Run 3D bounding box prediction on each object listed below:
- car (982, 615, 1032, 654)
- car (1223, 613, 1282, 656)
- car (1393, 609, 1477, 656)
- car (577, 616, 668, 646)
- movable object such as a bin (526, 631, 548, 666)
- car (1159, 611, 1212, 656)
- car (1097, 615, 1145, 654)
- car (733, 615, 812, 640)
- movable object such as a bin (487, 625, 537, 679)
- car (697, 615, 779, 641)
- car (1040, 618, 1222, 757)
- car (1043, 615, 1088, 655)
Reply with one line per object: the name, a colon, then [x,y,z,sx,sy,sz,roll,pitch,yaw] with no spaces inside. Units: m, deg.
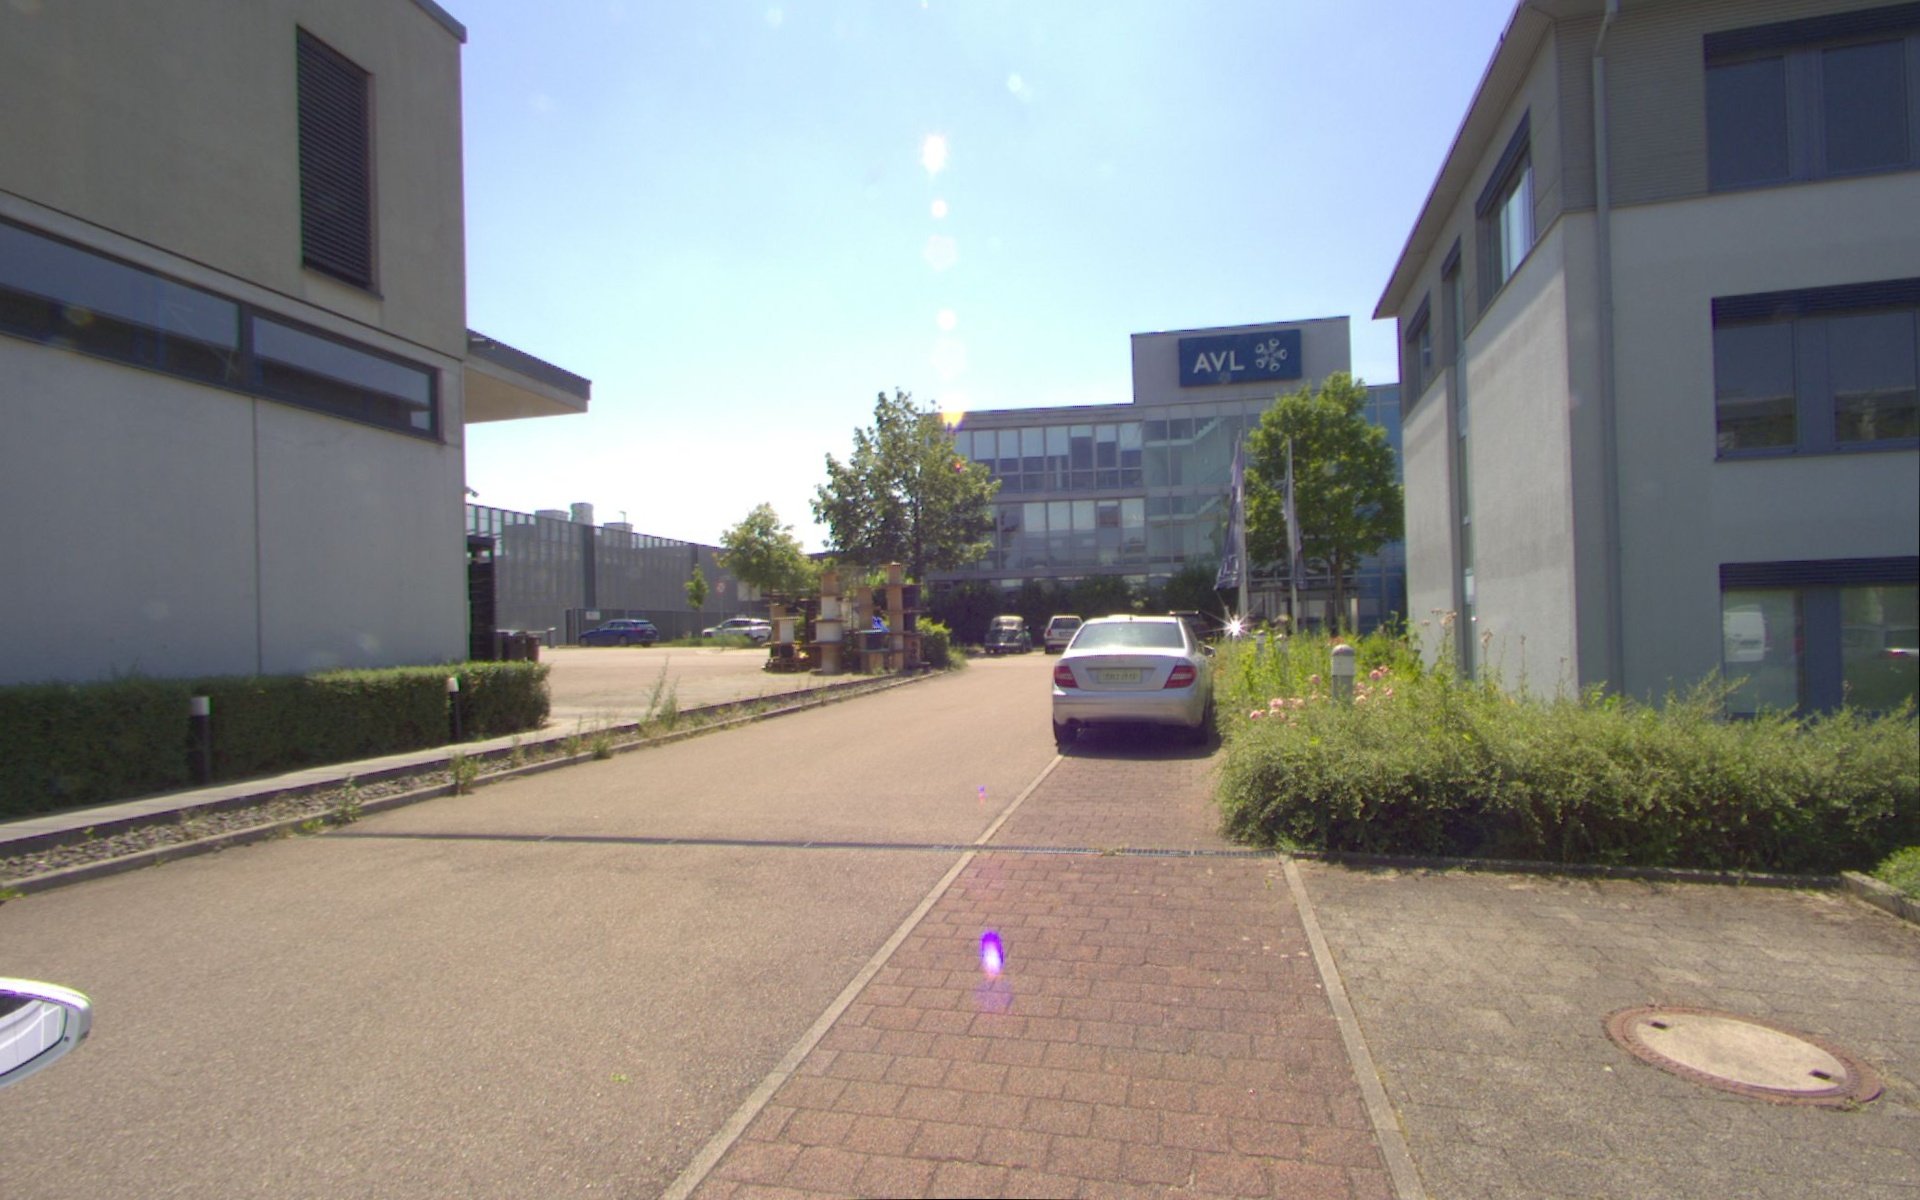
car: [1.920,1.337,39.903,1.517,1.468,3.652,0,0,11]
car: [11.163,1.276,38.439,1.742,1.501,4.256,-1,-1,11]
car: [17.667,1.159,37.415,1.791,1.641,4.337,-1,0,11]
car: [-17.863,1.615,52.978,4.443,1.511,1.992,-1,0,27]
movable object such as a bin: [-12.935,1.491,30.622,0.569,1.050,0.424,-1,-1,-21]
car: [8.712,1.258,38.912,1.897,1.632,3.984,0,0,11]
car: [6.356,1.346,39.869,1.737,1.468,3.653,0,0,7]
car: [-12.074,1.739,64.561,4.778,1.511,1.992,-1,0,27]
movable object such as a bin: [-11.631,1.341,26.026,0.799,1.362,0.883,-1,-1,18]
car: [-13.759,1.728,62.002,4.778,1.511,1.992,-1,0,27]
car: [2.314,0.963,12.559,1.772,1.416,4.415,-1,-2,16]
car: [4.207,1.353,39.680,1.704,1.468,3.653,0,0,7]
